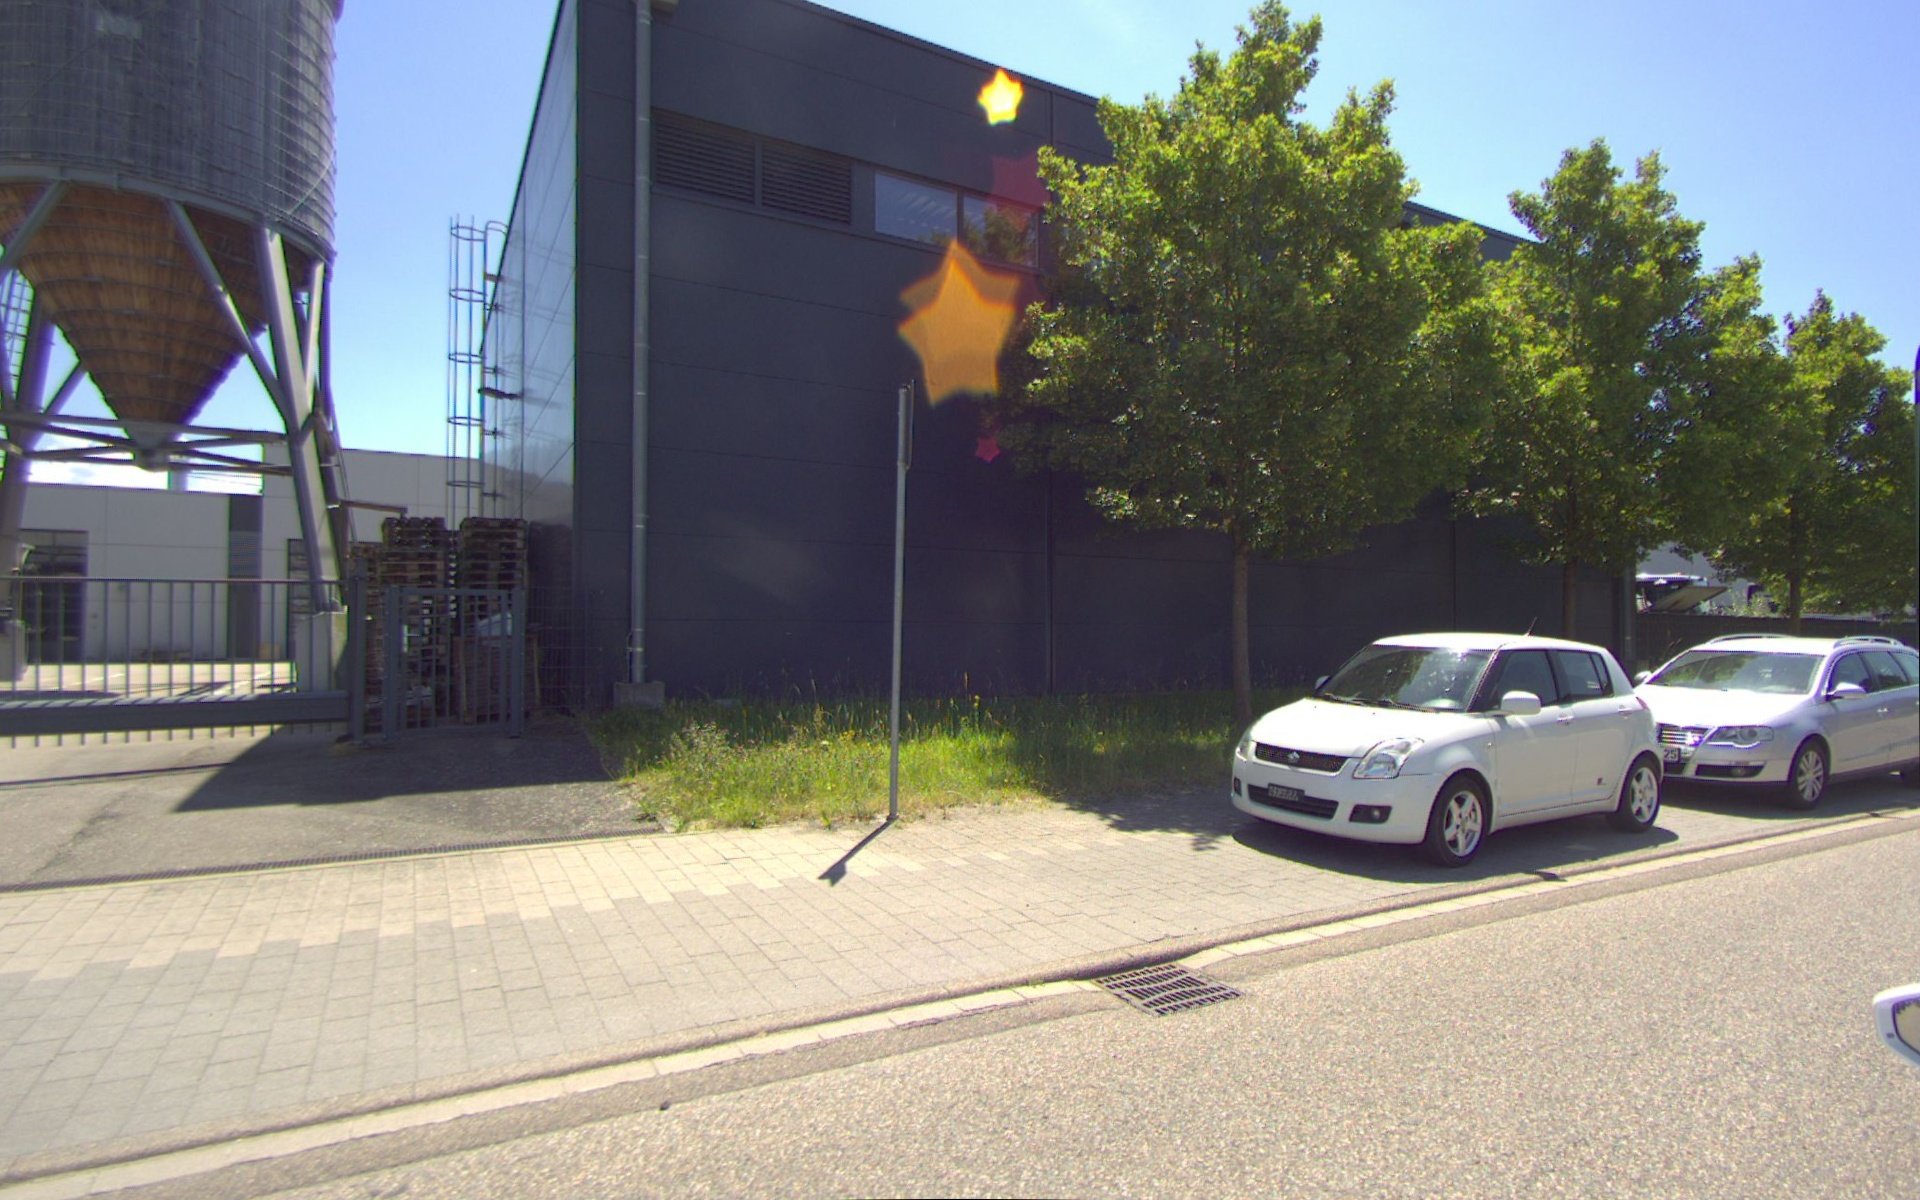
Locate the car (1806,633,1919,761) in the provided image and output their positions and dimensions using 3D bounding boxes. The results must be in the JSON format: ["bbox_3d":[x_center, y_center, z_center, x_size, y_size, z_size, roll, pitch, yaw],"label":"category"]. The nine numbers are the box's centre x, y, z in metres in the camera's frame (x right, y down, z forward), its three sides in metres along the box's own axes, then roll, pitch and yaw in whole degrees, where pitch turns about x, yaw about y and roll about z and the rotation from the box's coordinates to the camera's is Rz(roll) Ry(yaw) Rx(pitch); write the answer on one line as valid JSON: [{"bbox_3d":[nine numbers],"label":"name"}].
[{"bbox_3d":[13.437,1.217,13.169,4.572,1.495,1.795,1,-1,-24],"label":"car"}]

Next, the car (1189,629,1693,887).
[{"bbox_3d":[3.753,0.997,7.690,3.814,1.495,1.711,1,-1,-32],"label":"car"}]

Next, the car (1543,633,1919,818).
[{"bbox_3d":[8.112,1.109,10.171,4.499,1.495,1.791,1,-1,-29],"label":"car"}]
